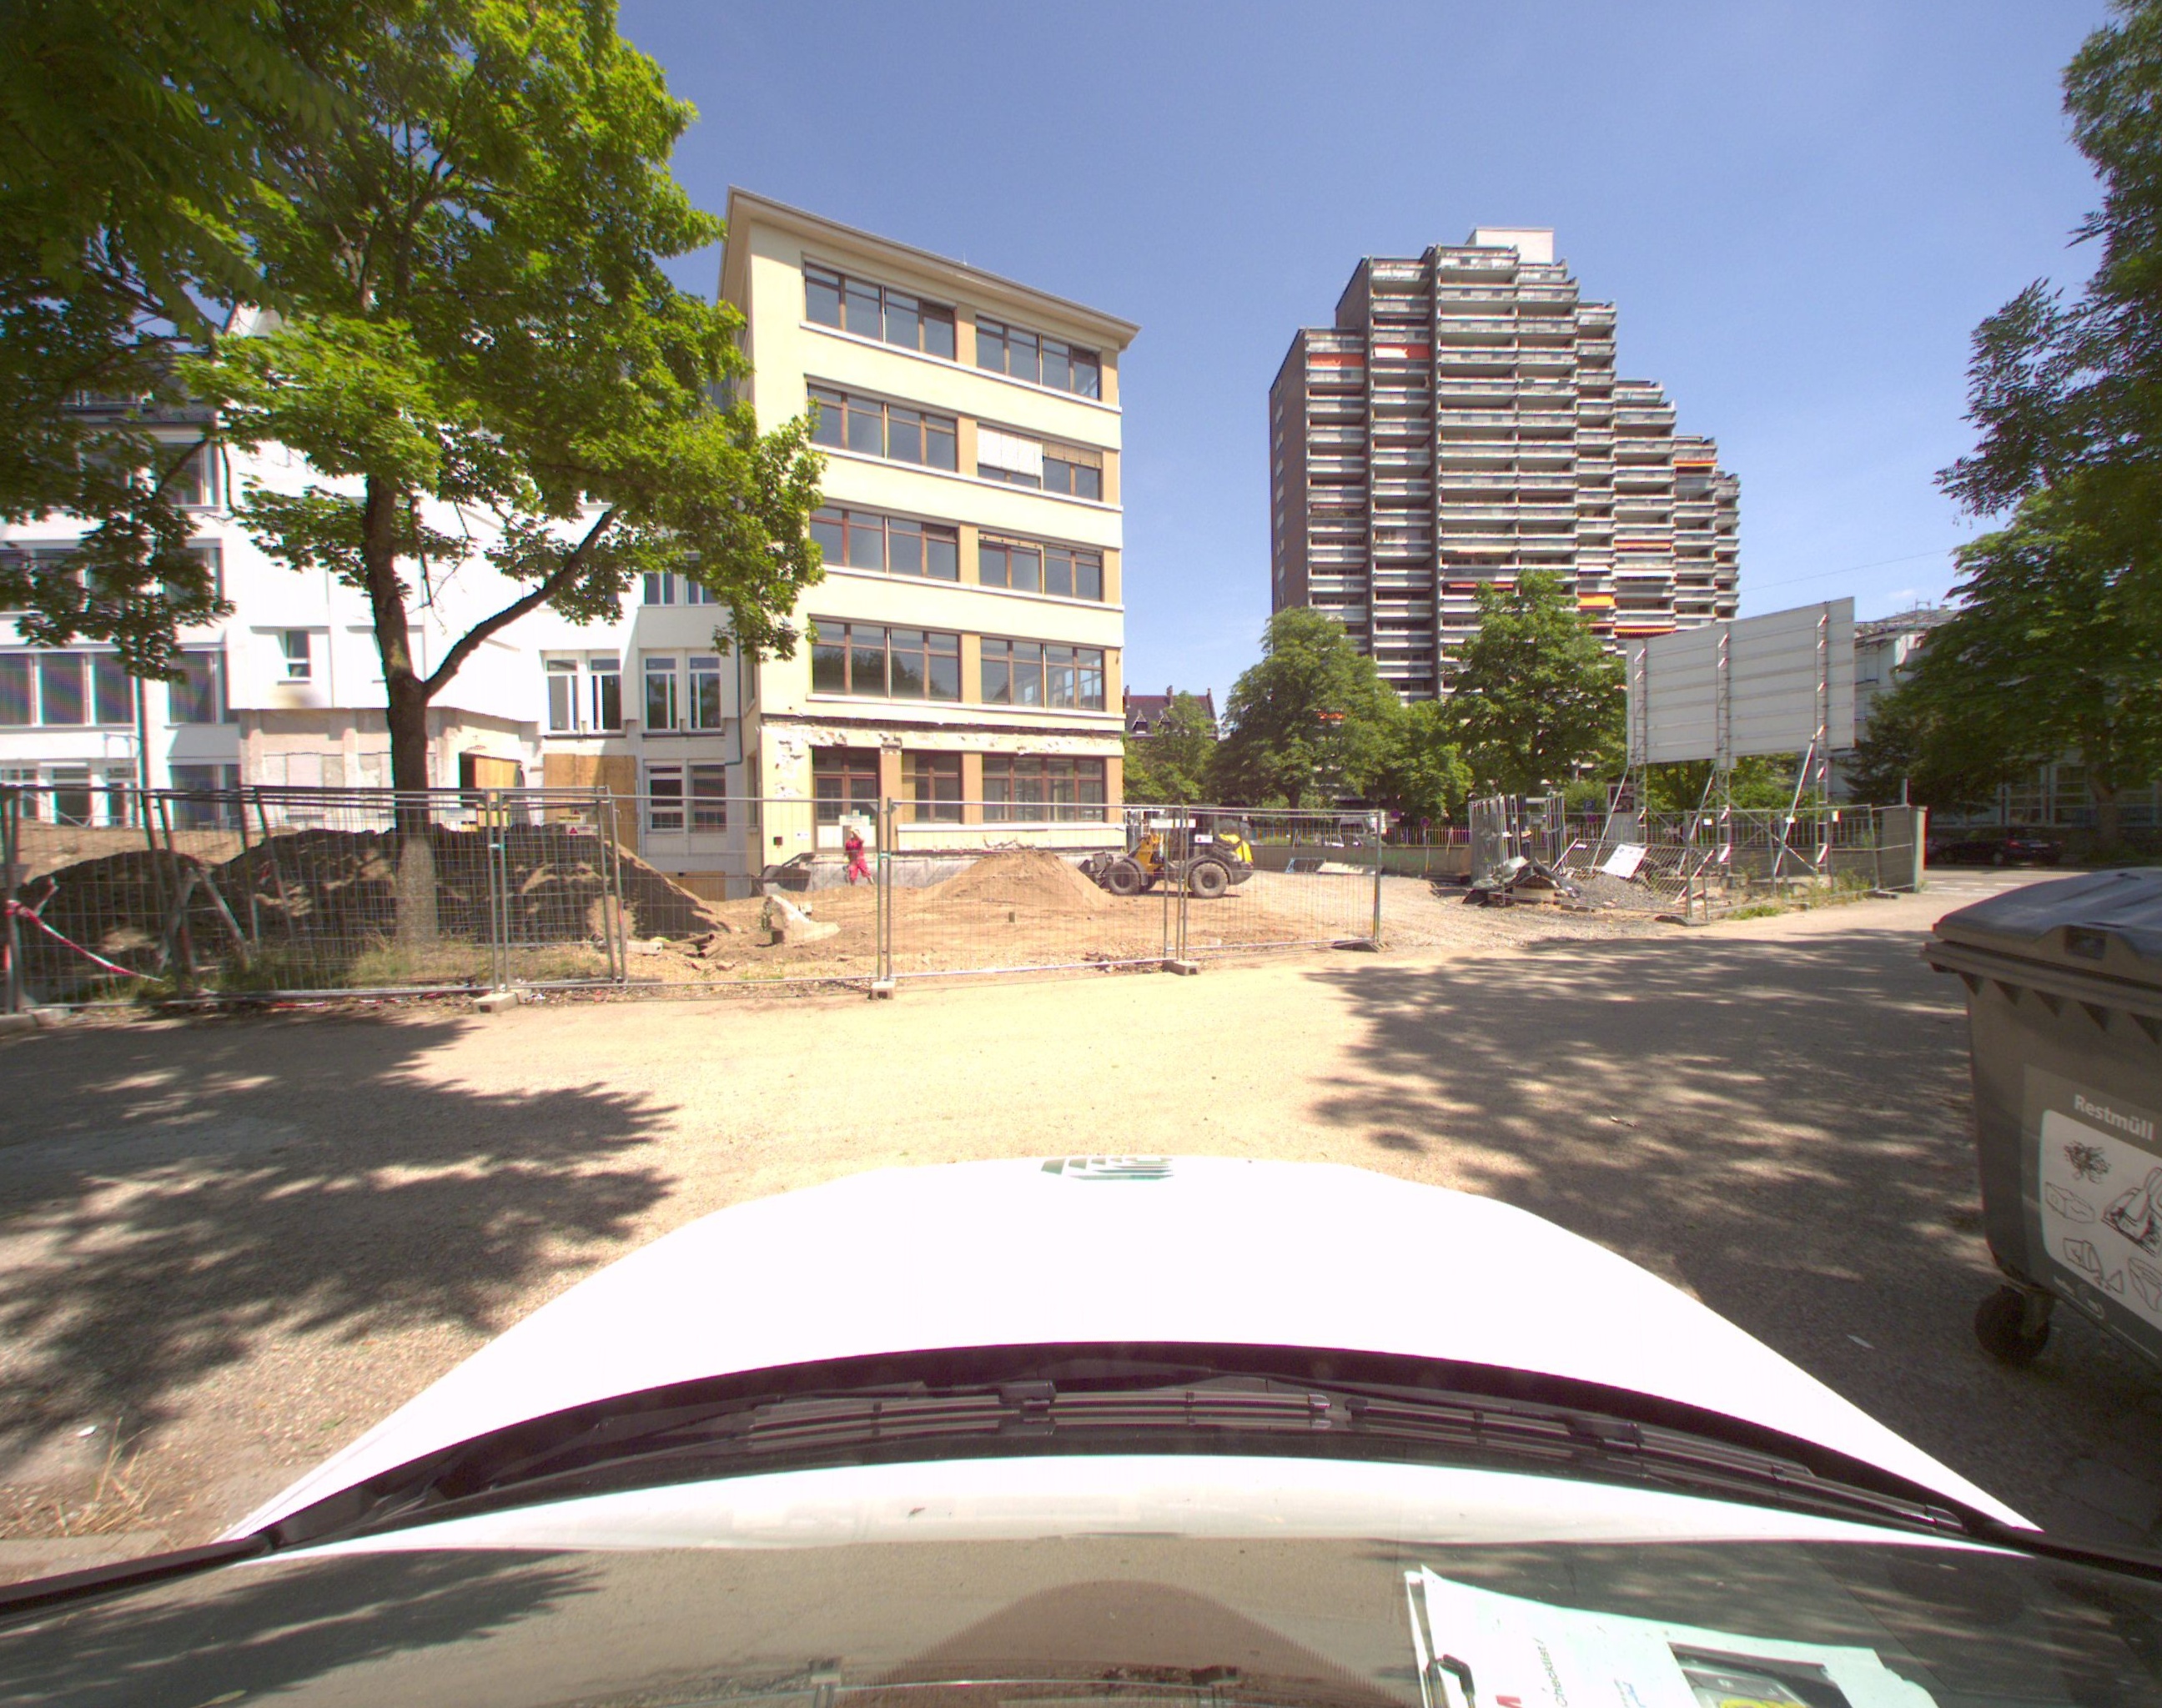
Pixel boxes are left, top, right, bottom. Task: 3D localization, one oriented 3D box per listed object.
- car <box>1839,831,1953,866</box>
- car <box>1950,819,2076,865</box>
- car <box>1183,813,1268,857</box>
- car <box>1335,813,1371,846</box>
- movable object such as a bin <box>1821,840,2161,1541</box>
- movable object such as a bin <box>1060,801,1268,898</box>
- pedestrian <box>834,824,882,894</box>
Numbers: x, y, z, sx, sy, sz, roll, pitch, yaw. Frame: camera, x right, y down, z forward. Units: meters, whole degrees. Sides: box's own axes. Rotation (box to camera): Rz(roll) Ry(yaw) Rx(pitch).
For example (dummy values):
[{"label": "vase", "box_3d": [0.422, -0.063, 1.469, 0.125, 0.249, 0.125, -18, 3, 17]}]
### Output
[{"label": "car", "box_3d": [33.358, -0.252, 33.478, 1.897, 1.310, 3.952, -1, 1, 22]}, {"label": "car", "box_3d": [35.170, -0.468, 30.878, 1.992, 1.629, 3.955, -1, 1, 31]}, {"label": "car", "box_3d": [8.267, -1.065, 47.057, 2.005, 2.416, 5.195, -1, 1, -28]}, {"label": "car", "box_3d": [19.738, -1.728, 59.026, 2.165, 2.258, 4.895, -1, 1, 22]}, {"label": "movable object such as a bin", "box_3d": [2.802, 0.706, 1.815, 1.071, 1.458, 1.377, -1, 1, 1]}, {"label": "movable object such as a bin", "box_3d": [2.258, -0.158, 22.440, 5.377, 2.464, 2.371, 1, 1, 5]}, {"label": "pedestrian", "box_3d": [-6.033, 0.118, 22.018, 0.990, 1.846, 0.907, -1, 1, -33]}]
